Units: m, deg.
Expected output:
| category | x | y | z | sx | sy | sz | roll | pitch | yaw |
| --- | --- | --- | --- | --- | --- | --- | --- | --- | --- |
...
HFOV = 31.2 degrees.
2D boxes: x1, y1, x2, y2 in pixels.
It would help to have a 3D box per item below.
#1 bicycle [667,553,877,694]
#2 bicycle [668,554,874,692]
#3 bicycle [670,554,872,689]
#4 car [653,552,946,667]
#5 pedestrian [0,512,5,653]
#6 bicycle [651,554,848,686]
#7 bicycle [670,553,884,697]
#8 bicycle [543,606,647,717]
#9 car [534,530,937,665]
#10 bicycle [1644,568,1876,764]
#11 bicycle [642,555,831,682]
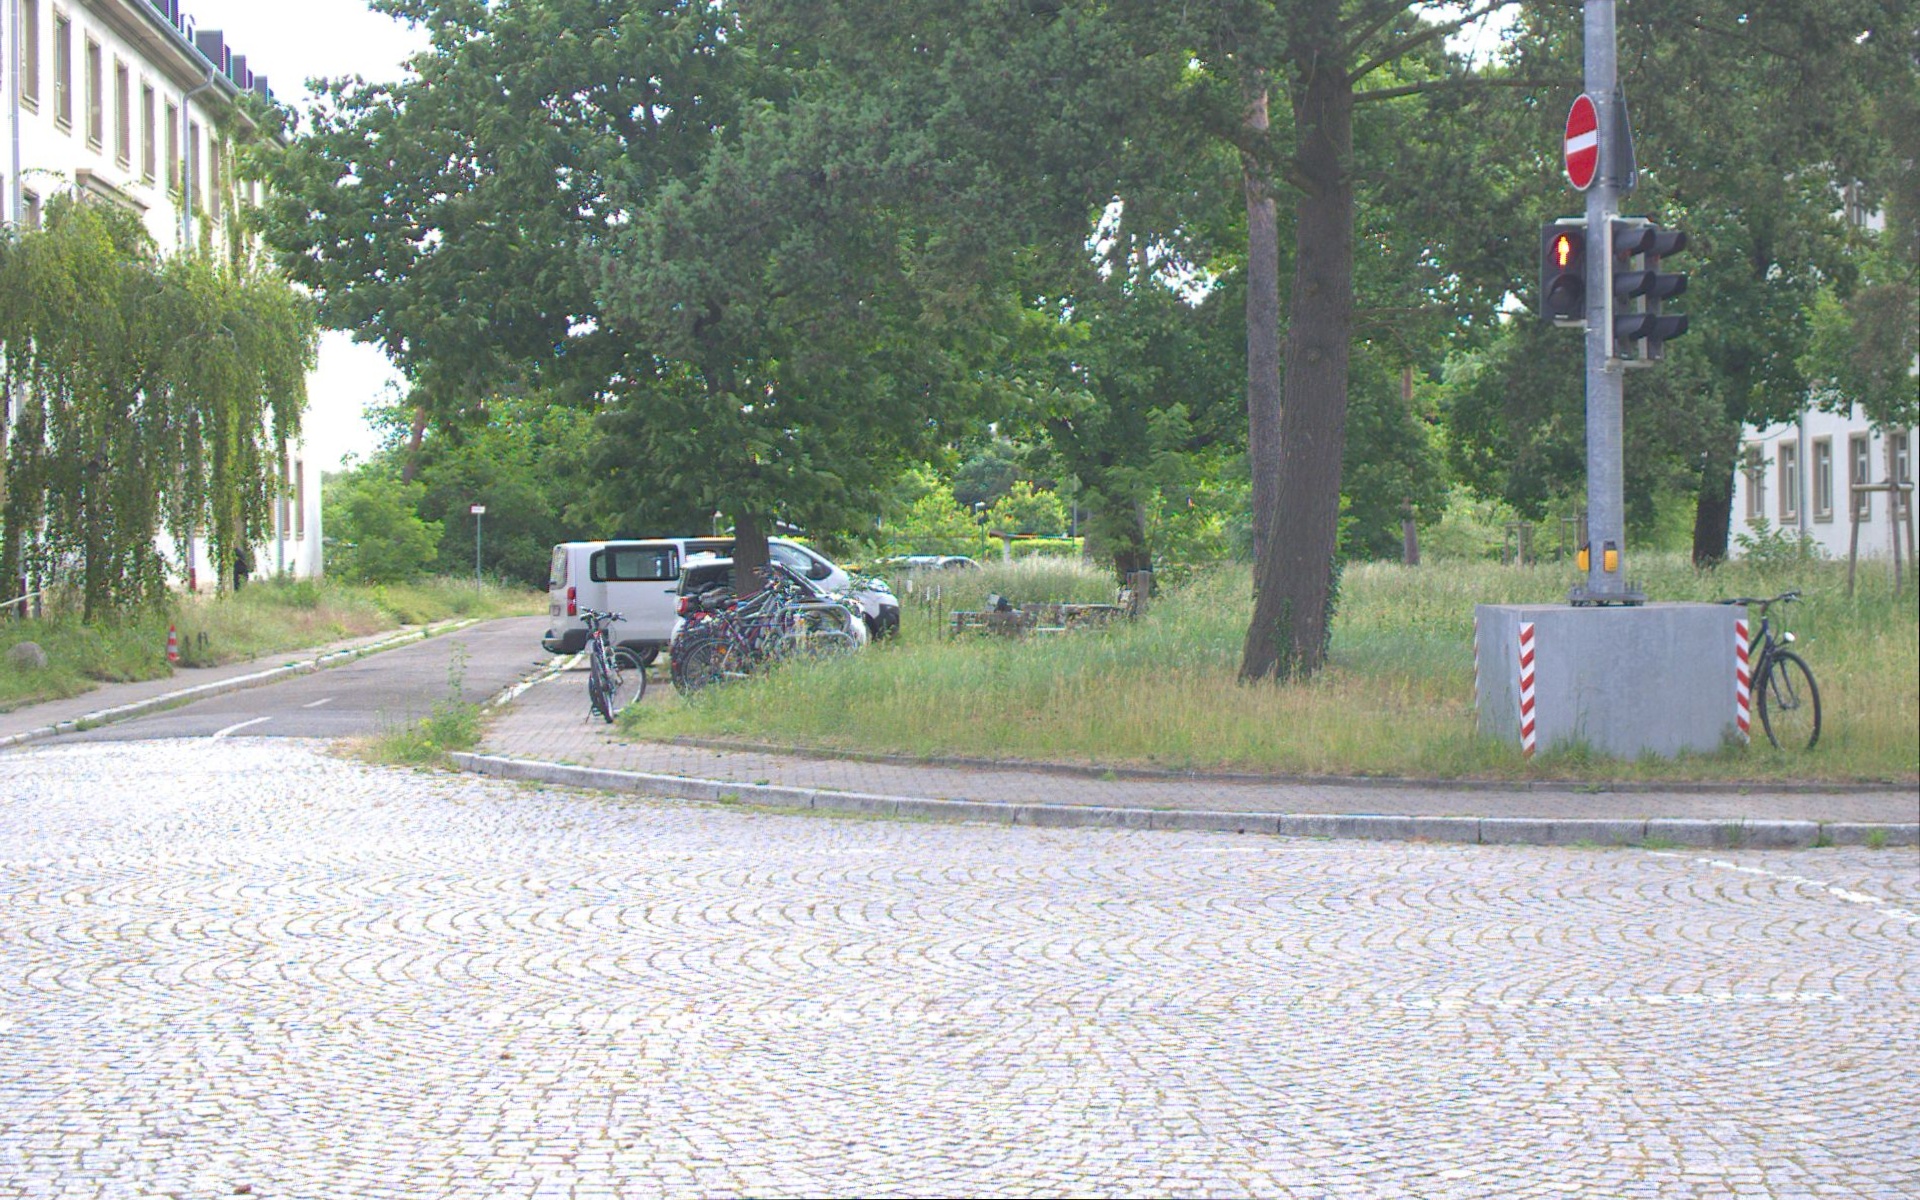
| category | x | y | z | sx | sy | sz | roll | pitch | yaw |
| --- | --- | --- | --- | --- | --- | --- | --- | --- | --- |
| bicycle | -1.881 | 0.232 | 34.479 | 2.069 | 1.373 | 0.620 | -1 | 1 | -3 |
| bicycle | -1.924 | 0.228 | 35.102 | 2.069 | 1.373 | 0.620 | -1 | 1 | -3 |
| bicycle | -1.966 | 0.223 | 35.898 | 2.069 | 1.373 | 0.620 | -1 | 1 | -3 |
| car | -2.284 | 0.113 | 48.328 | 3.931 | 1.539 | 2.000 | -1 | 1 | -8 |
| pedestrian | -14.229 | -0.244 | 48.674 | 1.087 | 2.007 | 1.021 | -1 | 1 | 2 |
| bicycle | -2.243 | 0.211 | 36.683 | 2.069 | 1.373 | 0.620 | -1 | 1 | -3 |
| bicycle | -1.794 | 0.237 | 33.812 | 2.069 | 1.373 | 0.620 | -1 | 1 | -3 |
| bicycle | -3.372 | 0.553 | 31.933 | 0.618 | 0.960 | 2.076 | -1 | 1 | 3 |
| car | -3.392 | -0.068 | 51.644 | 5.690 | 1.904 | 2.231 | -1 | 1 | -15 |
| bicycle | 5.061 | 0.393 | 21.880 | 0.908 | 1.173 | 1.874 | -1 | 1 | -4 |
| bicycle | -2.474 | 0.200 | 38.159 | 2.069 | 1.373 | 0.620 | -1 | 1 | -3 |
